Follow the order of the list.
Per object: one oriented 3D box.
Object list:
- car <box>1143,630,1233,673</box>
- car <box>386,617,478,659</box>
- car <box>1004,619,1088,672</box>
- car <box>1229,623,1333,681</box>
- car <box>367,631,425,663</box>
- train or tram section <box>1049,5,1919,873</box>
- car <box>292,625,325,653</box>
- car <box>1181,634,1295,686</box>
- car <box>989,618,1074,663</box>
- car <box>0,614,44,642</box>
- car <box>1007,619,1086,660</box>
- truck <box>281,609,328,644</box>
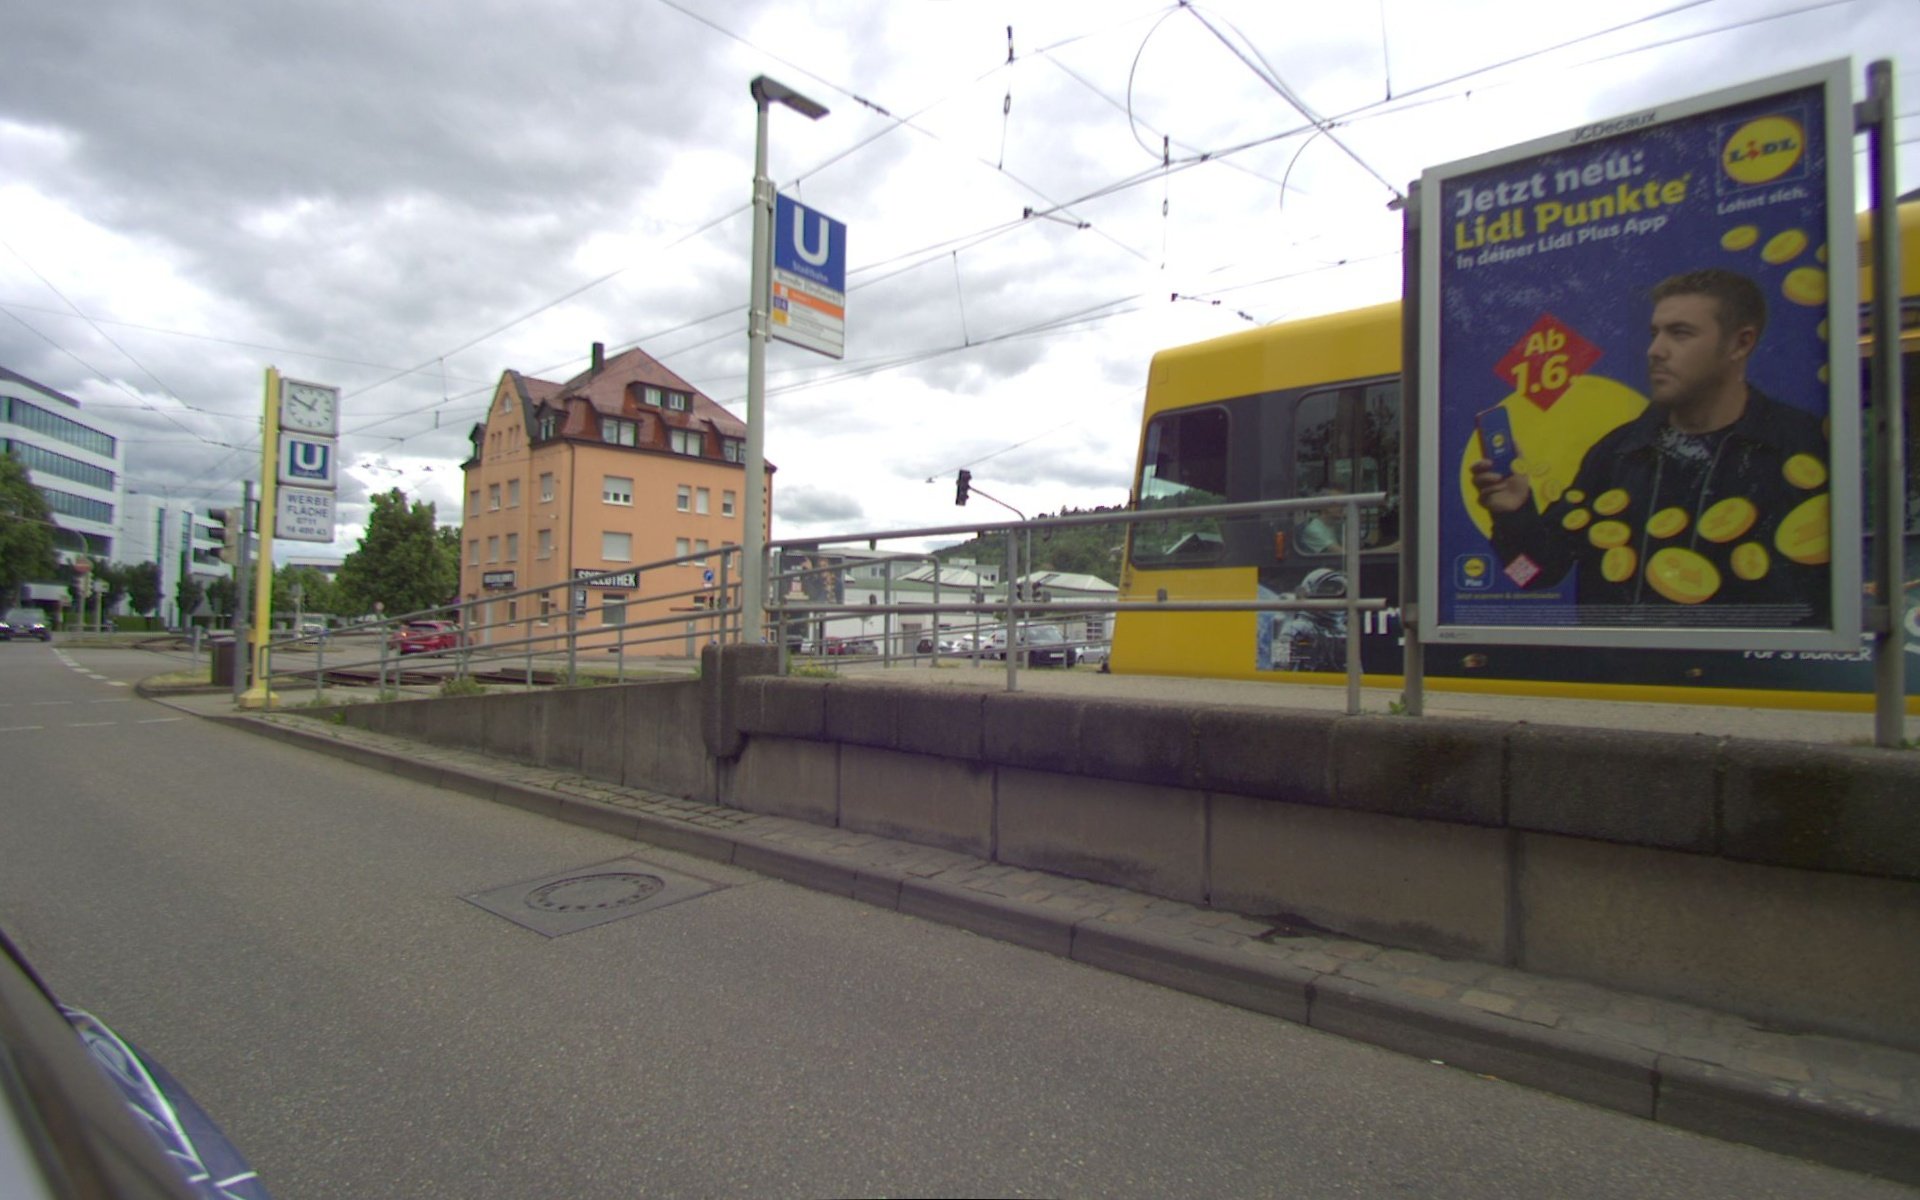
[{"bbox_3d":[11.682,2.672,52.273,1.965,2.029,5.034,4,-4,-22],"label":"car"},{"bbox_3d":[-21.106,1.491,40.614,1.743,1.541,3.740,2,-1,-1],"label":"car"},{"bbox_3d":[3.132,1.637,37.776,1.967,1.652,4.011,-1,1,-13],"label":"car"},{"bbox_3d":[10.201,1.616,31.978,1.996,1.652,3.951,1,-2,36],"label":"car"},{"bbox_3d":[-33.242,2.746,59.567,3.998,1.536,1.680,4,1,41],"label":"car"},{"bbox_3d":[6.079,-0.735,4.989,11.903,3.997,2.712,-2,-3,41],"label":"train or tram section"},{"bbox_3d":[-44.533,2.689,69.119,1.573,1.431,3.381,-5,-4,-37],"label":"car"},{"bbox_3d":[11.144,2.394,40.776,1.967,1.718,4.010,4,0,-36],"label":"car"},{"bbox_3d":[3.729,2.018,52.017,2.003,2.056,4.768,2,2,39],"label":"car"},{"bbox_3d":[-46.511,1.371,49.893,1.602,1.342,3.181,2,-2,-36],"label":"car"},{"bbox_3d":[5.522,2.484,64.595,4.498,2.259,1.978,4,0,33],"label":"car"},{"bbox_3d":[-49.985,2.050,77.275,2.281,2.440,5.672,4,-3,-27],"label":"truck"}]
